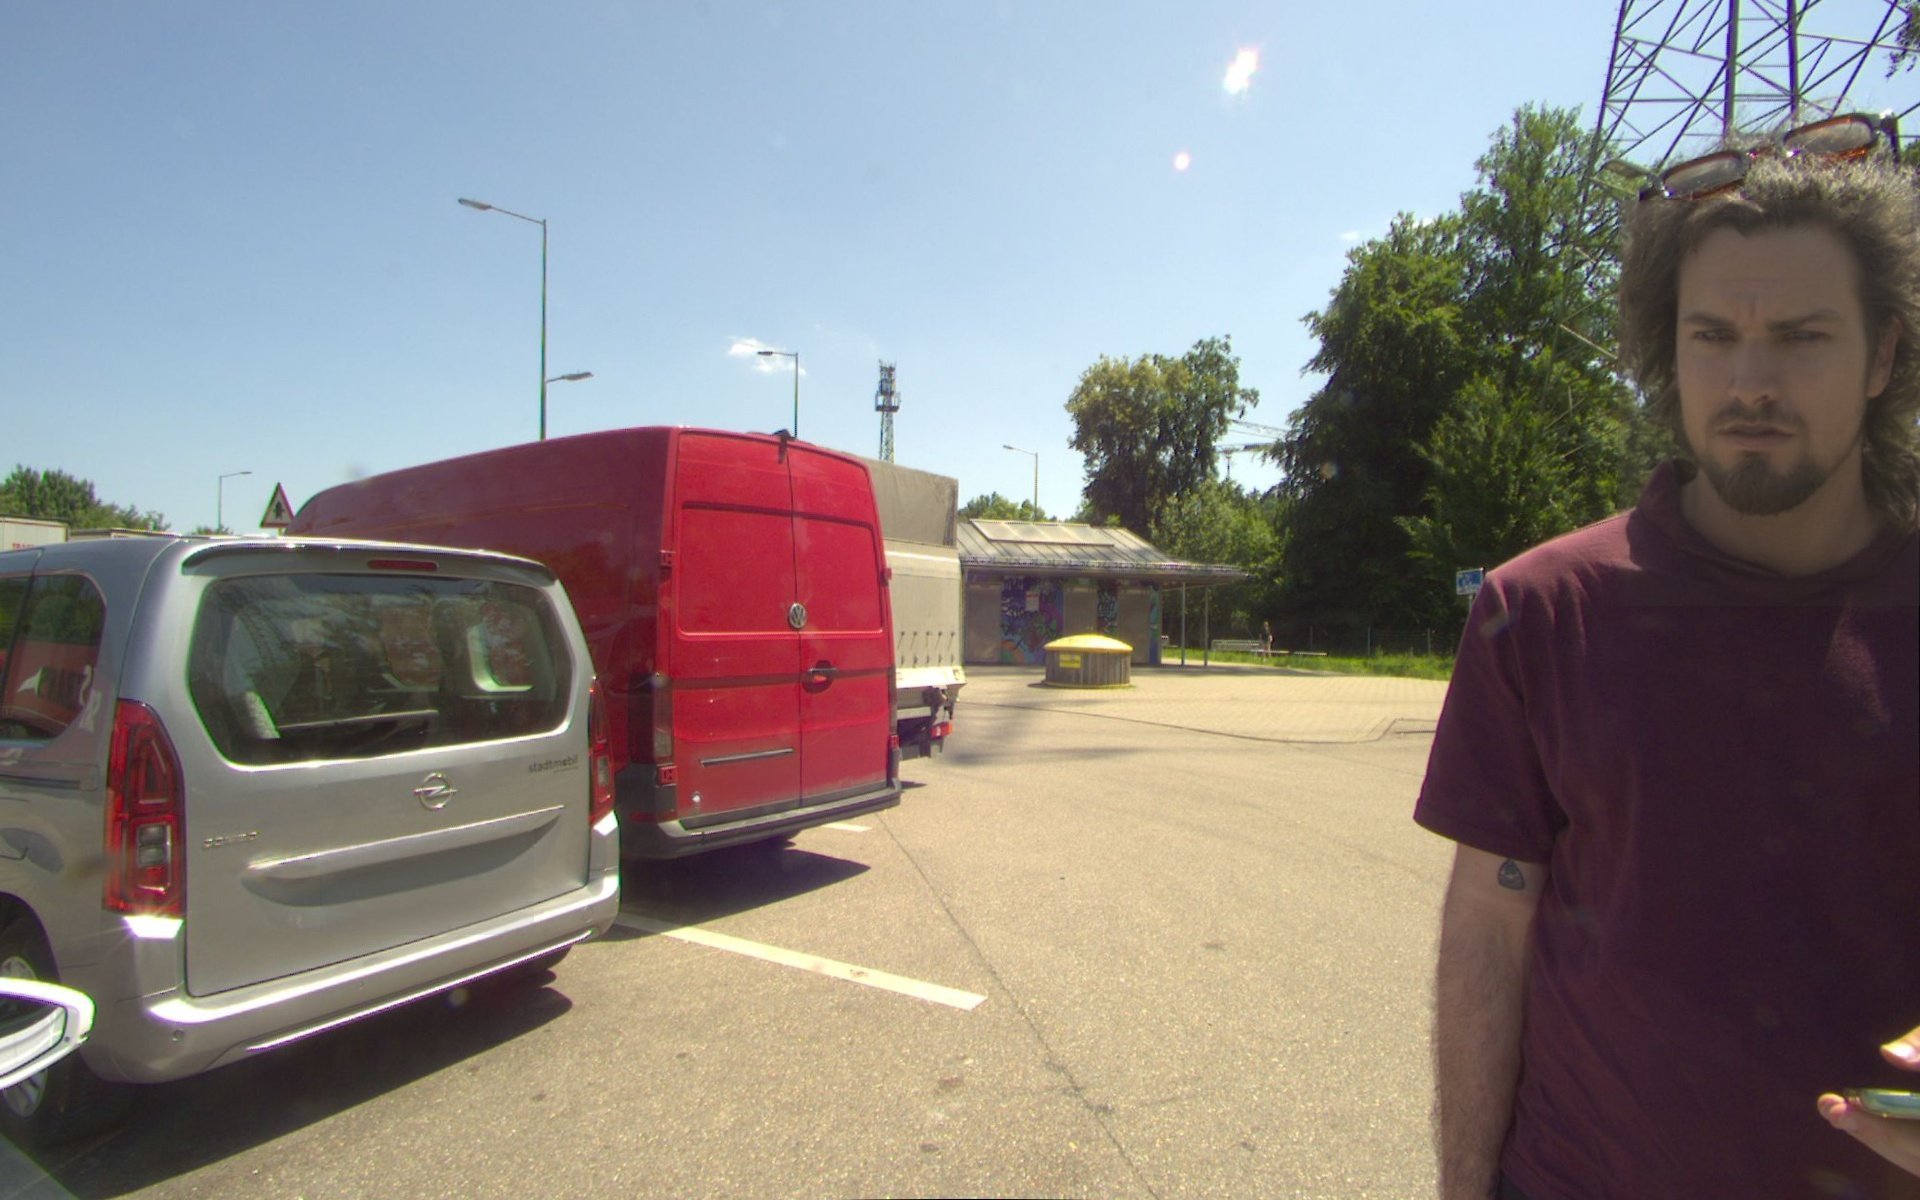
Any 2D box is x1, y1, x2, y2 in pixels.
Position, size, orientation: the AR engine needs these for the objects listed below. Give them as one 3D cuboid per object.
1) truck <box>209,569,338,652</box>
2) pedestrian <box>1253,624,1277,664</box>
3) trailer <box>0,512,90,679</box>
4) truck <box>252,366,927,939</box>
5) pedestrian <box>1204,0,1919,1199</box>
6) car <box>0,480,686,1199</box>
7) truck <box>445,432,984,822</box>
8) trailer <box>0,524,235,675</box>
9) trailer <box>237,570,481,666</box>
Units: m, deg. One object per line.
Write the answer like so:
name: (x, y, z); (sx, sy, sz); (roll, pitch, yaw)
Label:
truck: (-32.072, 0.467, 46.751); (5.813, 3.566, 2.799); (2, -2, 33)
pedestrian: (12.934, 1.855, 42.457); (0.727, 1.658, 0.787); (-1, -1, 36)
trailer: (-28.996, -0.258, 28.132); (14.184, 4.040, 2.808); (2, -2, 33)
truck: (-2.869, 0.337, 7.038); (5.238, 2.655, 1.972); (-2, -2, 38)
pedestrian: (0.791, 0.572, 0.813); (0.851, 1.857, 0.857); (-1, -2, 41)
car: (-3.362, 0.686, 4.238); (4.113, 1.887, 1.868); (1, -2, 31)
truck: (-2.718, 0.304, 10.277); (5.582, 2.949, 2.449); (-2, -2, 37)
trailer: (-27.932, -0.101, 31.778); (14.184, 4.040, 2.808); (2, -2, 33)
trailer: (-26.078, 0.646, 42.894); (14.184, 3.552, 2.808); (2, -2, 33)
